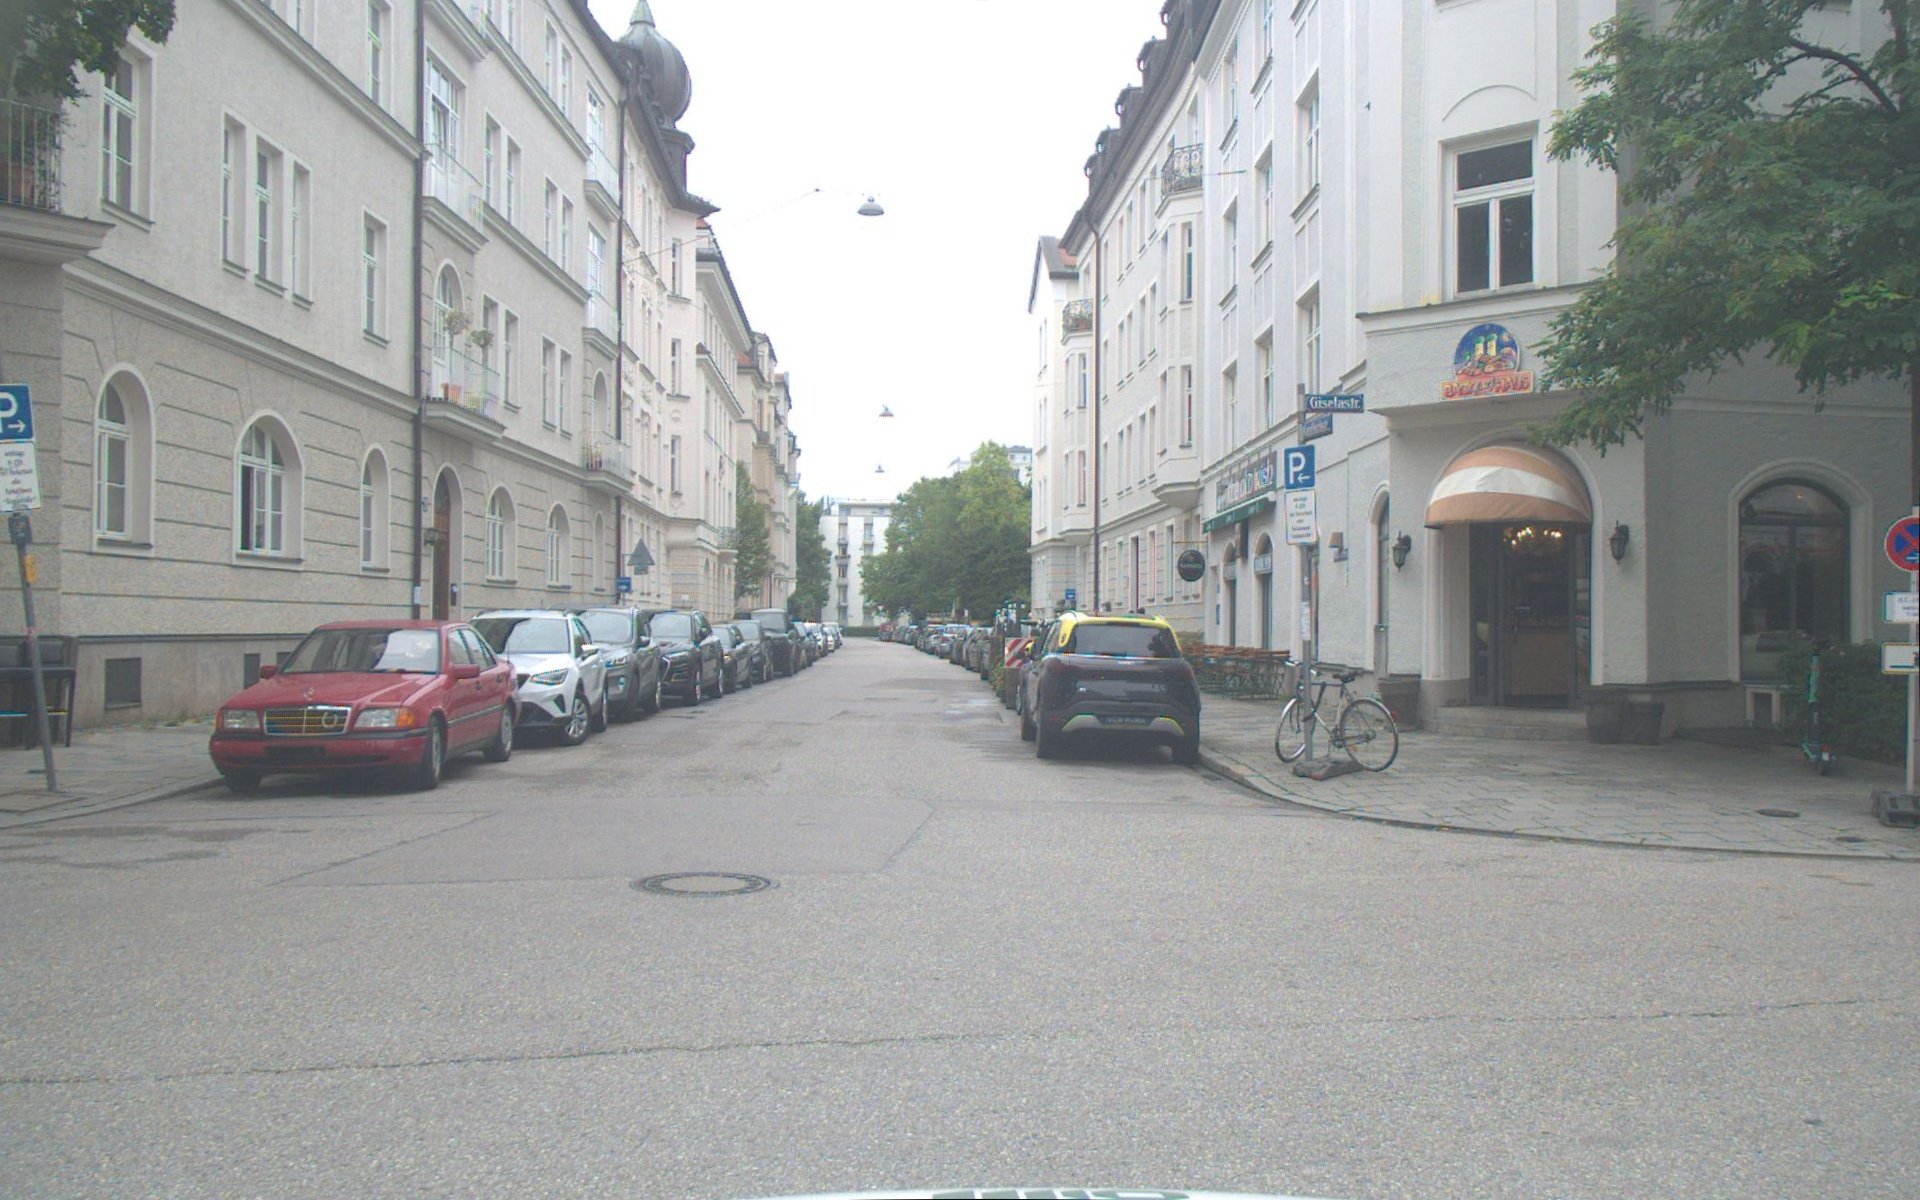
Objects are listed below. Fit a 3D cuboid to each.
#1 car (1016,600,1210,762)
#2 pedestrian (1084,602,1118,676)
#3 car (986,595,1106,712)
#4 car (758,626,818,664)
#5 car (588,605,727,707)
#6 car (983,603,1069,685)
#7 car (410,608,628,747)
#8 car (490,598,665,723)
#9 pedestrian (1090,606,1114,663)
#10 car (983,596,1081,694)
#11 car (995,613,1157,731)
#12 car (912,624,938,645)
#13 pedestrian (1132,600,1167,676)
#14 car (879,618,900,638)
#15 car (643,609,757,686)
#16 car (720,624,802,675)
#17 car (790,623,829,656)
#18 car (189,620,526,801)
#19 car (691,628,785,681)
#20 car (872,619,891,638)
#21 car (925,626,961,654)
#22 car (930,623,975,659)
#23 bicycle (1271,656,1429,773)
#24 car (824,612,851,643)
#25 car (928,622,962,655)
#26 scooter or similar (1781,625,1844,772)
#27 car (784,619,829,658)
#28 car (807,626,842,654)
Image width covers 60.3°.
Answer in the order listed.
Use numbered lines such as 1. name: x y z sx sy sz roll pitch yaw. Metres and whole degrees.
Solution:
1. car: 1.718 0.895 19.899 1.783 1.665 4.287 2 -1 -2
2. pedestrian: 3.596 0.987 42.241 0.762 1.883 1.022 0 -1 -1
3. car: 1.491 0.924 30.055 1.783 1.903 4.287 2 -1 -2
4. car: -6.029 1.565 58.320 1.868 1.243 3.998 0 -1 -3
5. car: -5.355 0.963 29.763 1.954 1.705 4.285 0 -1 -4
6. car: 1.561 1.049 40.638 1.952 1.889 4.345 1 -1 0
7. car: -5.207 0.866 20.061 1.955 1.499 4.212 0 -1 -7
8. car: -5.583 0.851 24.622 1.955 1.705 4.008 0 -1 -5
9. pedestrian: 4.703 1.135 54.783 0.761 1.883 0.860 0 -1 6
10. car: 1.525 0.952 36.189 1.783 1.957 4.182 2 -1 -2
11. car: 1.636 1.015 24.863 1.936 1.524 4.635 2 -1 -2
12. car: -2.840 2.776 133.774 1.911 1.681 3.996 -1 -1 -4
13. pedestrian: 4.769 0.959 41.693 0.762 1.883 1.022 0 -1 -1
14. car: -7.391 2.955 172.770 1.955 2.017 4.887 1 -1 -5
15. car: -5.584 0.994 35.982 1.886 1.573 3.999 1 -1 -1
16. car: -5.552 1.354 46.482 1.868 1.352 3.999 0 -1 -1
17. car: -6.869 1.780 75.828 1.700 1.444 3.996 0 -1 -5
18. car: -5.228 0.886 14.959 1.696 1.402 4.223 0 -1 -3
19. car: -5.542 1.345 41.767 1.868 1.243 3.999 0 -1 -1
20. car: -8.747 3.175 184.135 1.955 2.017 4.887 1 -1 -5
21. car: -0.925 2.138 88.645 1.696 1.442 3.849 0 -1 -4
22. car: -0.399 1.919 77.937 1.869 1.604 3.997 0 -1 -4
23. bicycle: 3.804 1.097 16.270 0.532 1.016 1.742 -3 1 -25
24. car: -8.517 1.906 114.983 1.809 2.049 3.997 0 -1 -3
25. car: -0.977 2.445 106.717 1.954 2.017 4.889 1 -1 -3
26. scooter or similar: 8.138 0.912 15.812 0.418 1.301 1.279 1 1 23
27. car: -6.460 1.597 69.887 1.784 1.601 3.996 0 -1 -4
28. car: -7.936 2.337 97.047 1.954 1.601 3.996 0 -1 -4
